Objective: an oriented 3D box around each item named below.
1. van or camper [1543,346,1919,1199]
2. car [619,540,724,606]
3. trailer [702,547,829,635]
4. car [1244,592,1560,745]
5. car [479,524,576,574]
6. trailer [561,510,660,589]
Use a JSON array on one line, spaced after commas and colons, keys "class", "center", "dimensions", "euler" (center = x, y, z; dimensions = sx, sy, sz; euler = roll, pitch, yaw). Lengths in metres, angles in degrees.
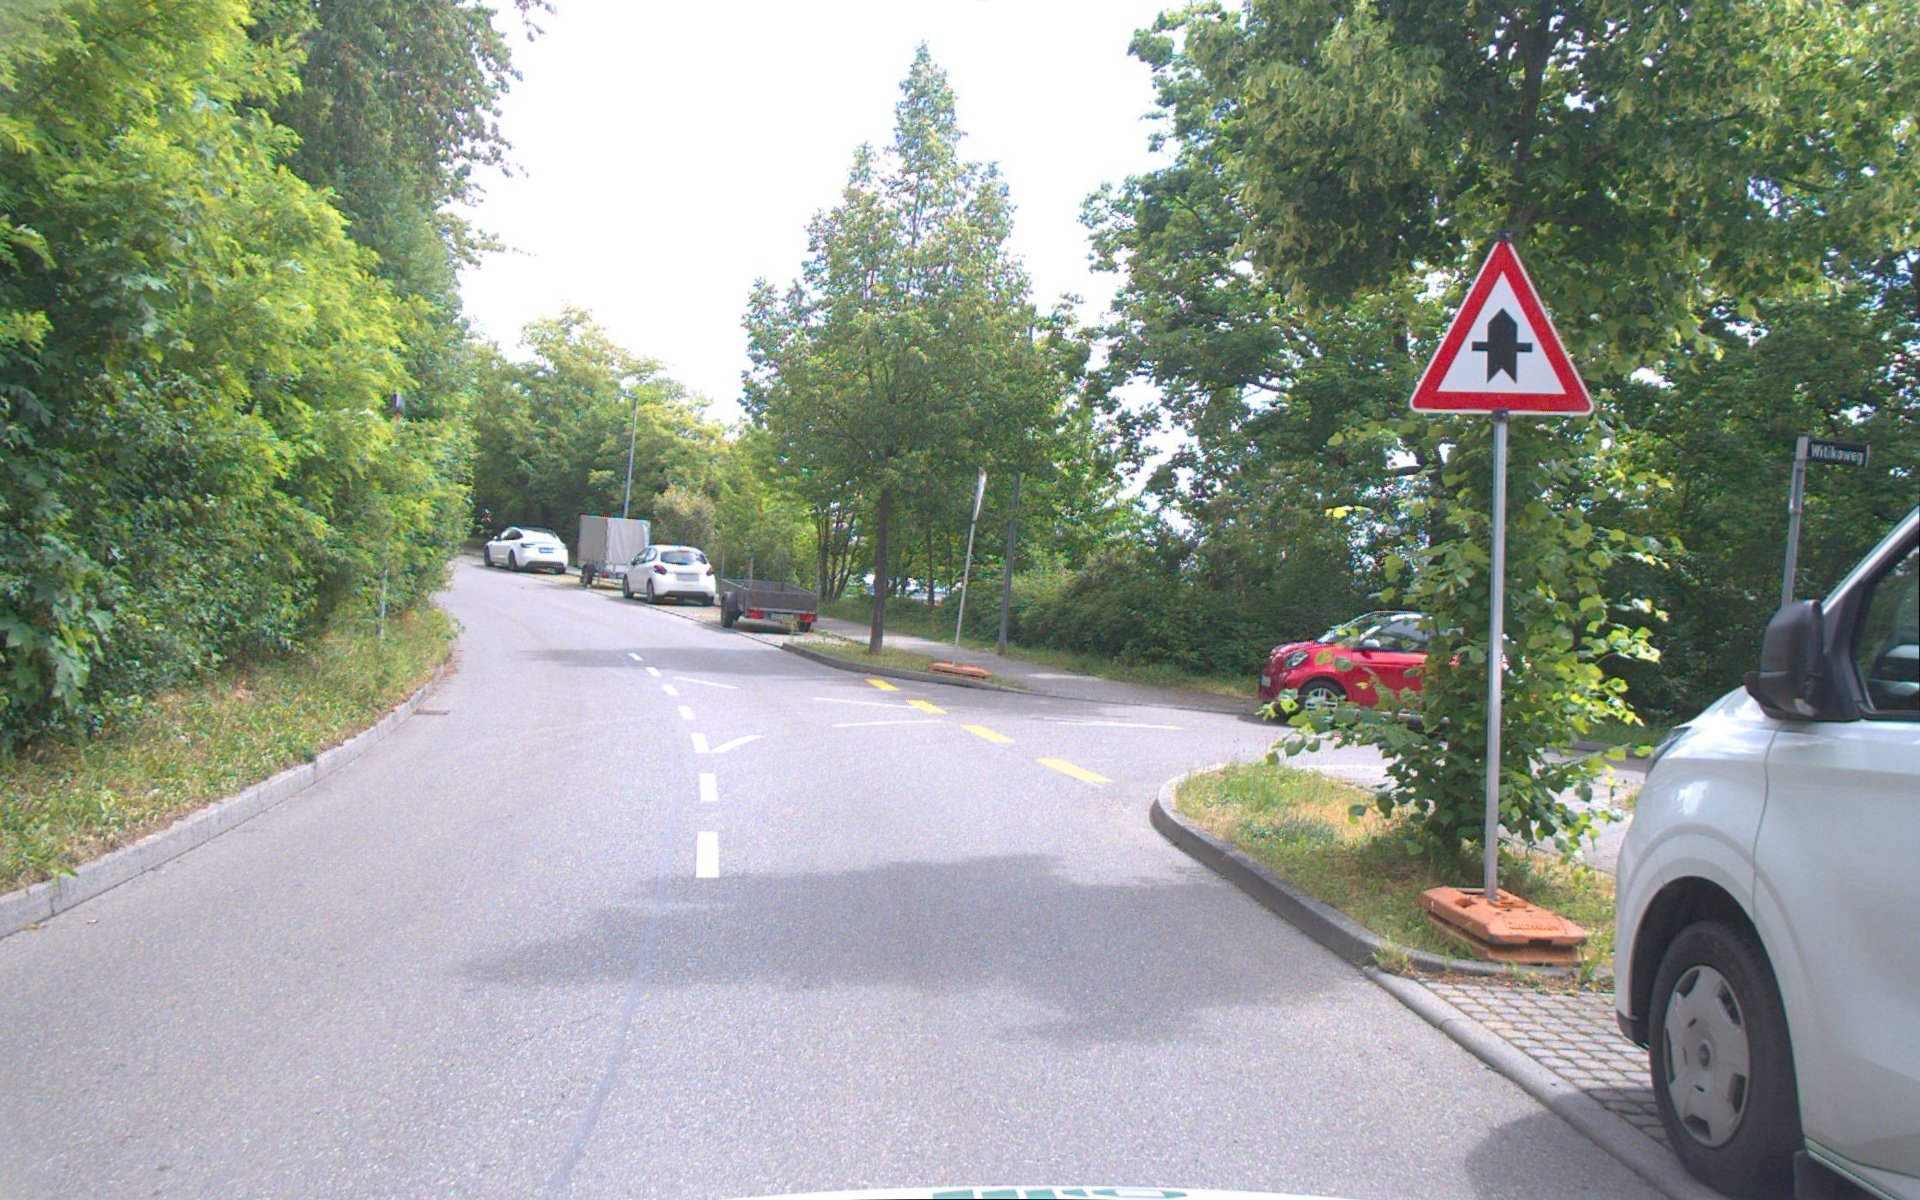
[{"class": "van or camper", "center": [2.962, 0.521, 2.450], "dimensions": [1.954, 1.953, 5.262], "euler": [3, 0, -4]}, {"class": "car", "center": [-7.646, -0.739, 43.611], "dimensions": [1.746, 1.435, 3.972], "euler": [3, 3, -24]}, {"class": "trailer", "center": [-4.176, -0.236, 35.049], "dimensions": [1.758, 1.552, 3.979], "euler": [3, 2, -20]}, {"class": "car", "center": [5.586, 0.837, 21.219], "dimensions": [3.465, 1.506, 1.782], "euler": [6, 1, -1]}, {"class": "car", "center": [-14.754, -1.746, 56.288], "dimensions": [1.869, 1.399, 4.302], "euler": [3, 3, -34]}, {"class": "trailer", "center": [-10.483, -1.536, 49.403], "dimensions": [1.722, 2.147, 3.962], "euler": [2, 3, -30]}]
